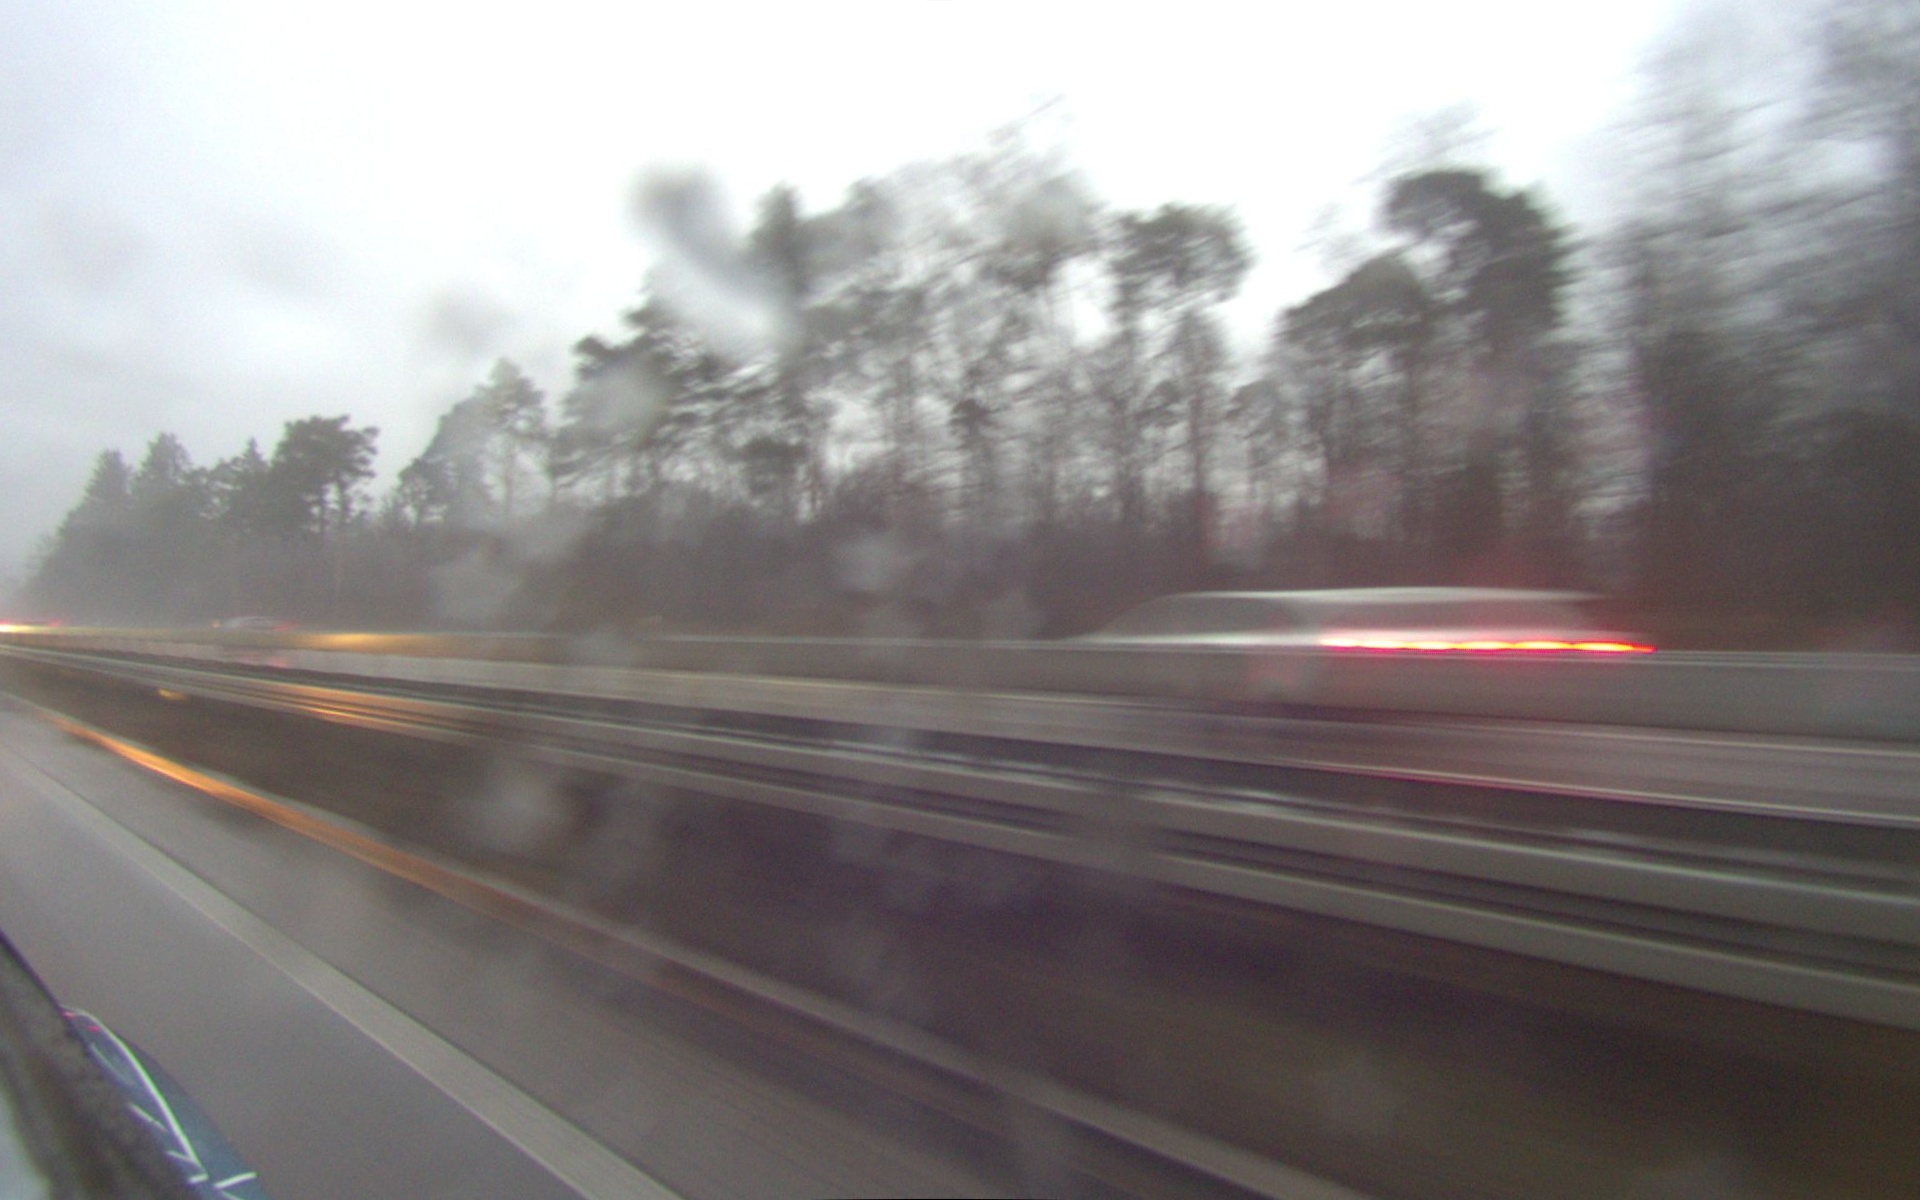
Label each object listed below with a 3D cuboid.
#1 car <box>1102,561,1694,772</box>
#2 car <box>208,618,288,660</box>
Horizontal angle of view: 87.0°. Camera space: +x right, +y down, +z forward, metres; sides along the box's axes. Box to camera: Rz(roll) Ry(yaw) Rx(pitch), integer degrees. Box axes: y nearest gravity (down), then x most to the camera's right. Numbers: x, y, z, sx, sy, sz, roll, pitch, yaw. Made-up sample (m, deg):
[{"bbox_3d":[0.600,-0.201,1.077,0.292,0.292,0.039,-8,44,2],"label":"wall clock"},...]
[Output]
[{"bbox_3d":[4.302,0.594,10.733,5.448,1.708,1.856,-2,-1,42],"label":"car"},{"bbox_3d":[-27.035,1.471,38.397,3.646,1.491,1.626,-1,-1,41],"label":"car"}]
